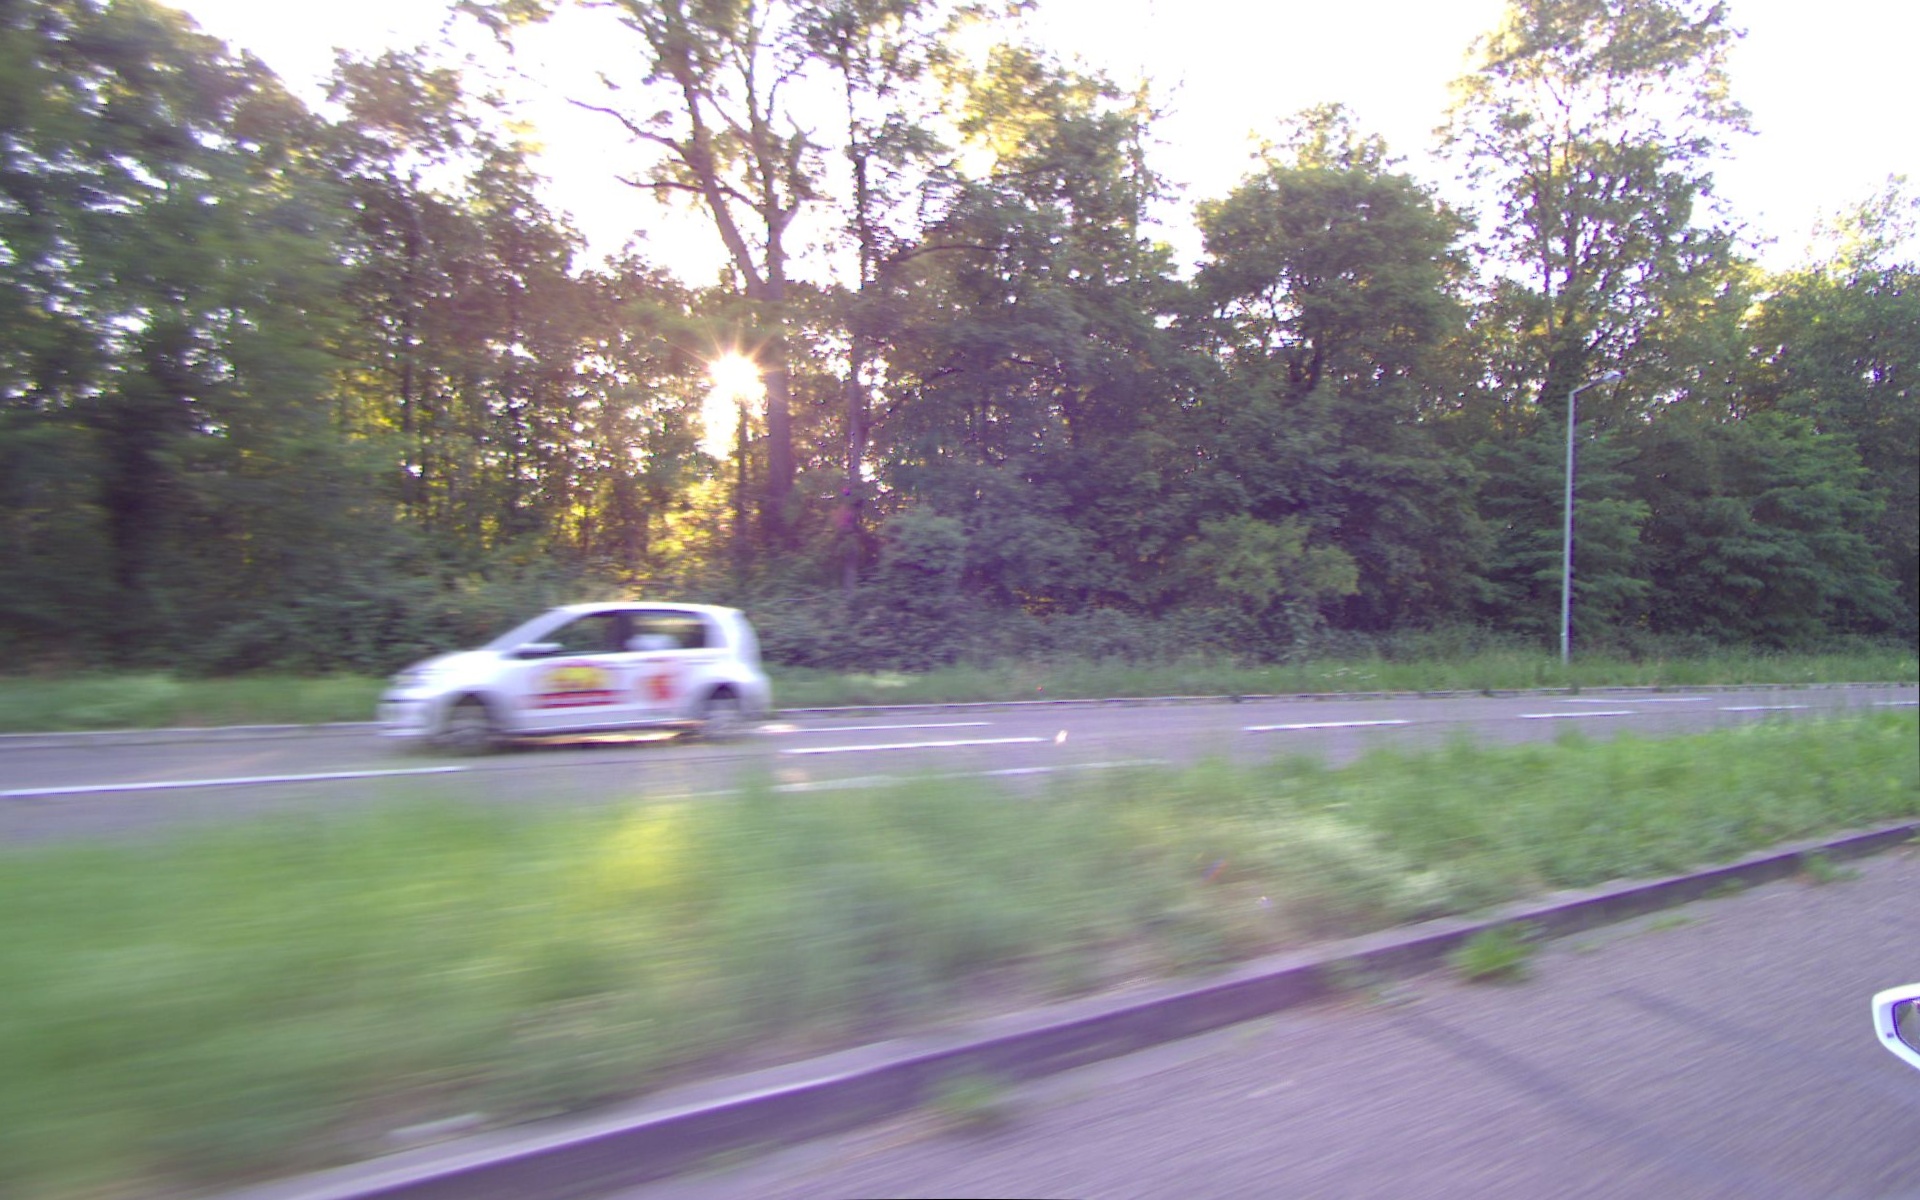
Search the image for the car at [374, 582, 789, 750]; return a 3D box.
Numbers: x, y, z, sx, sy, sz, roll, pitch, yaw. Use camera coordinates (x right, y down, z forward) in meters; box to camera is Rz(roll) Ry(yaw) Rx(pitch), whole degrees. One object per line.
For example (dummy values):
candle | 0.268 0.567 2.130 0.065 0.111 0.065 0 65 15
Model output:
car | -3.972 0.702 10.677 3.765 1.477 1.985 4 -2 -29
